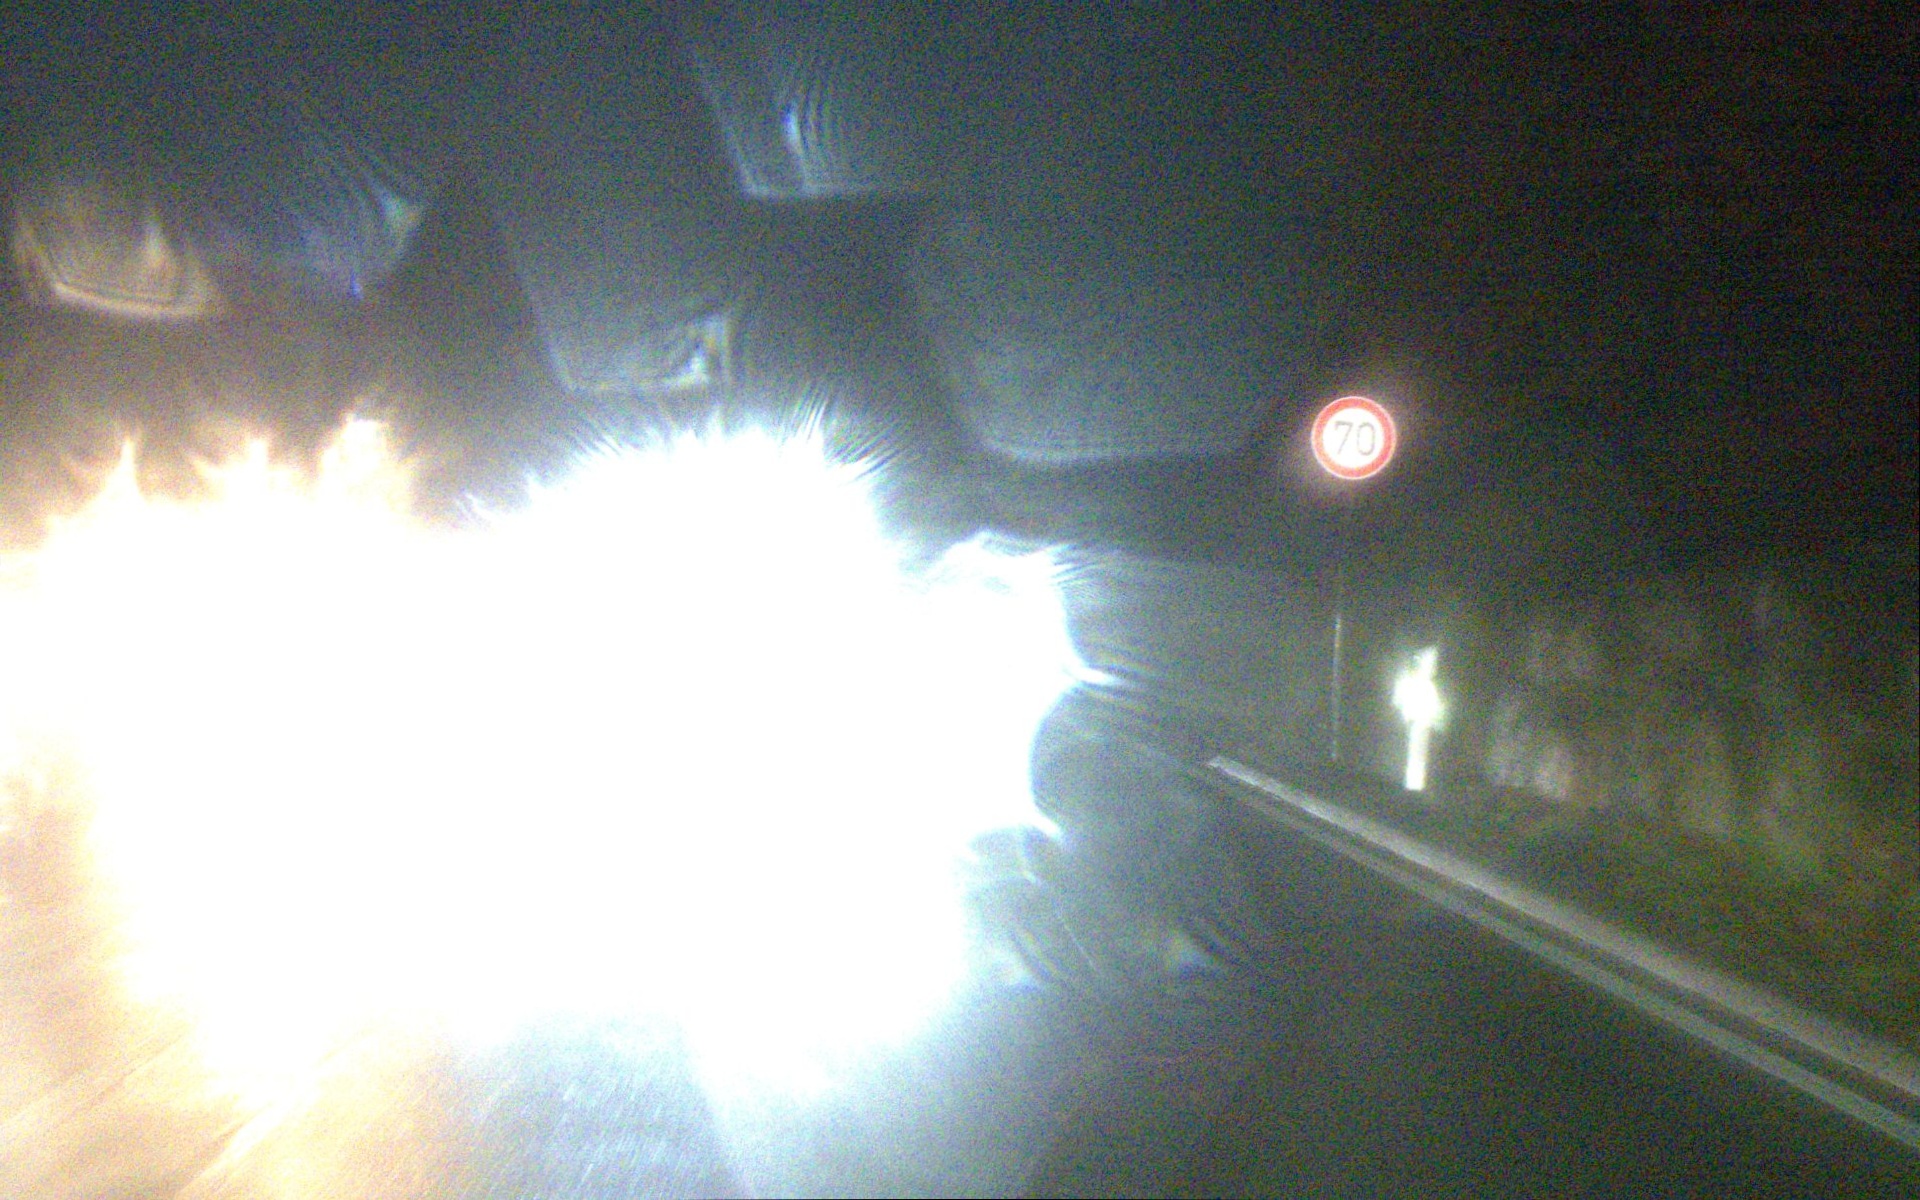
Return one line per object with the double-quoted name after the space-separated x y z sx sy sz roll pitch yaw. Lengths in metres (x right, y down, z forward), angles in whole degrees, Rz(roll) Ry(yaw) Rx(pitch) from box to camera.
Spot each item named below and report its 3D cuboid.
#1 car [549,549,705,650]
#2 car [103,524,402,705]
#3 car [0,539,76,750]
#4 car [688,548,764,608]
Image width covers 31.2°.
-5.493 -0.033 57.202 2.110 1.570 4.680 1 1 0 "car"
-7.804 0.113 38.478 1.994 1.858 5.319 1 1 3 "car"
-8.073 0.323 24.452 2.083 1.537 4.898 1 1 3 "car"
-6.511 -0.630 96.068 1.923 1.610 4.085 1 1 -1 "car"
